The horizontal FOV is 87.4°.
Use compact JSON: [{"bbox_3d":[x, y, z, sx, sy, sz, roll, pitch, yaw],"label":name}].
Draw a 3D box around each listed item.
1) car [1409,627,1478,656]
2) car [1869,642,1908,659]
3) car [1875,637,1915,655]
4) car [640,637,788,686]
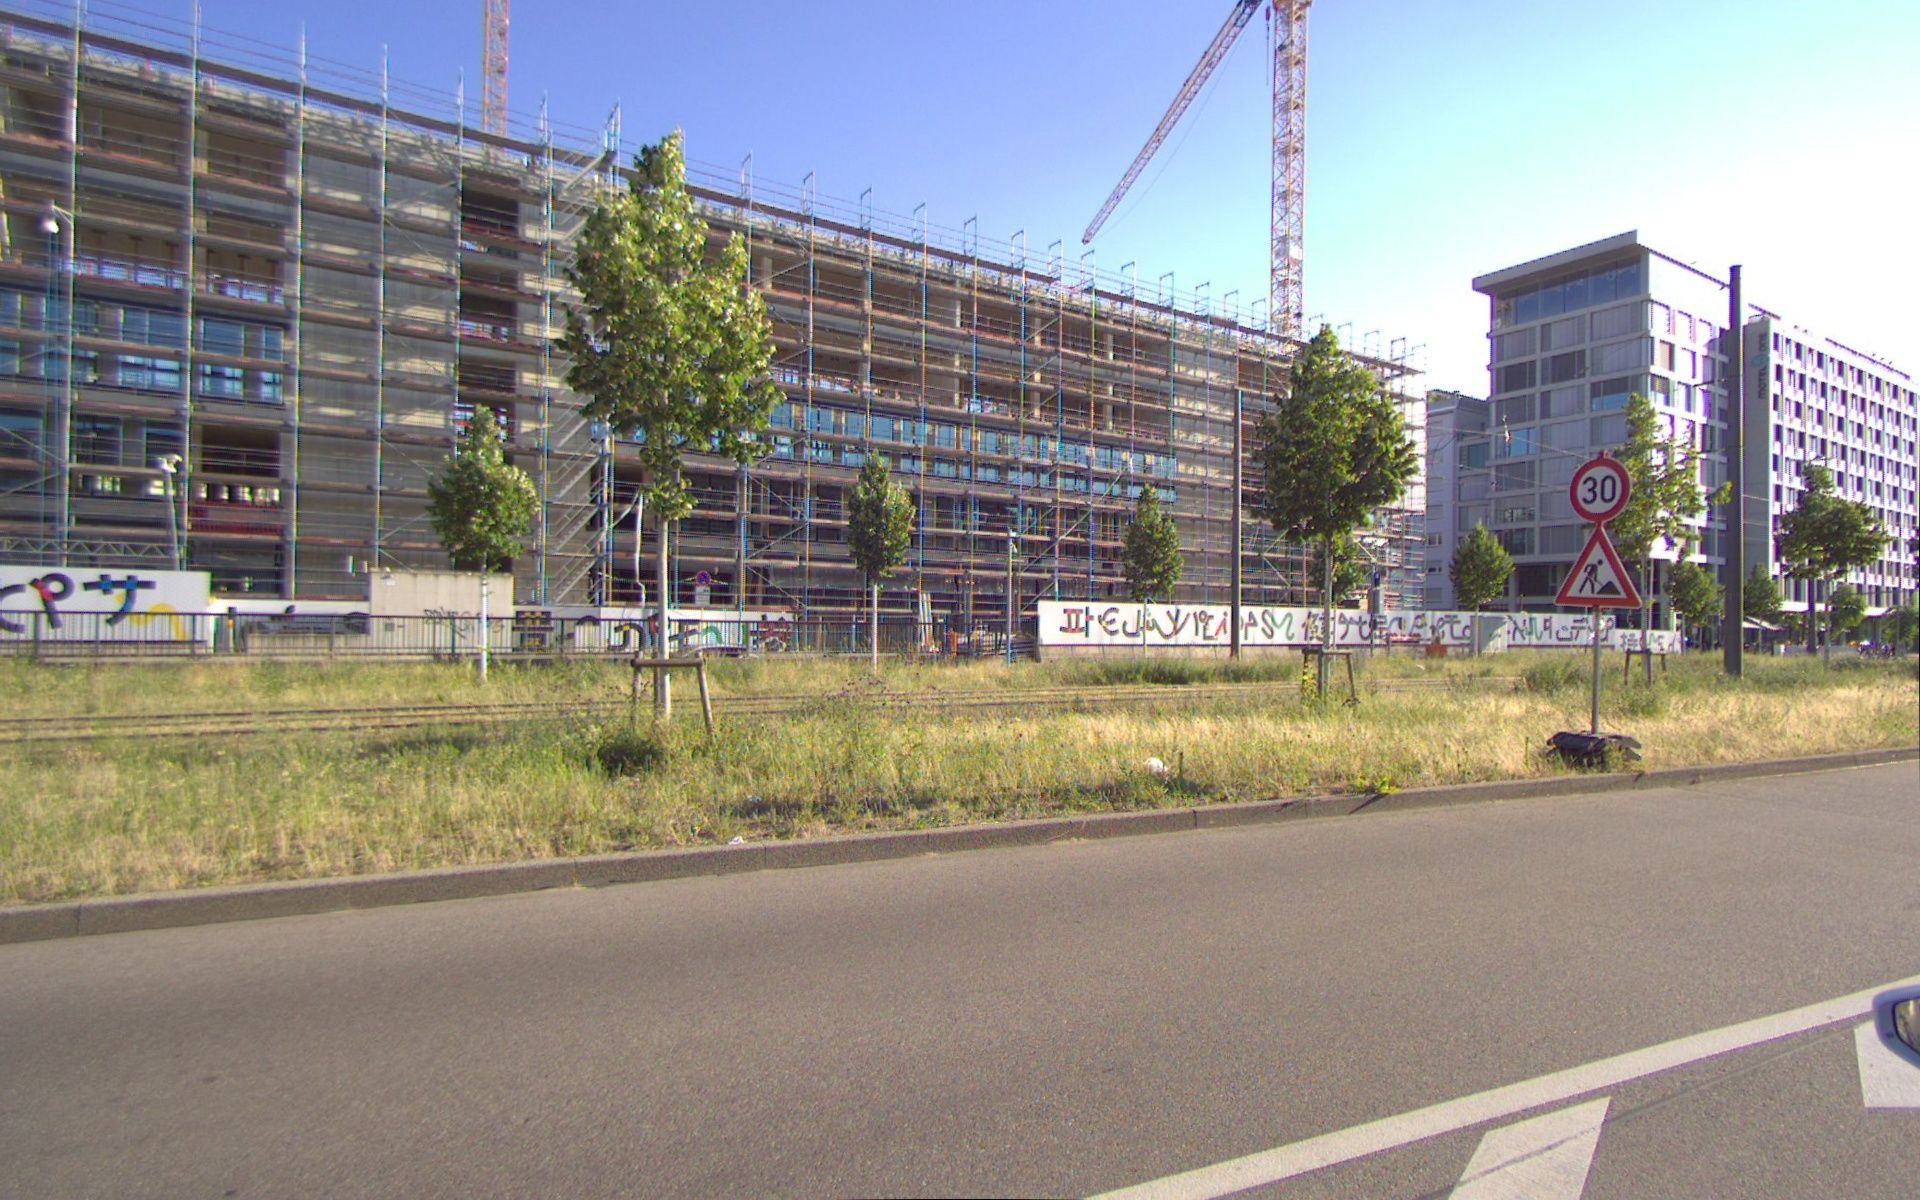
[{"bbox_3d":[26.134,2.262,54.266,3.543,1.461,1.699,2,0,-32],"label":"car"},{"bbox_3d":[84.029,4.574,90.889,3.543,1.461,1.699,2,0,-32],"label":"car"},{"bbox_3d":[81.355,4.006,87.407,3.543,1.461,1.699,2,0,-32],"label":"car"},{"bbox_3d":[-7.374,1.809,30.208,4.045,1.327,1.520,1,-1,-30],"label":"car"}]
